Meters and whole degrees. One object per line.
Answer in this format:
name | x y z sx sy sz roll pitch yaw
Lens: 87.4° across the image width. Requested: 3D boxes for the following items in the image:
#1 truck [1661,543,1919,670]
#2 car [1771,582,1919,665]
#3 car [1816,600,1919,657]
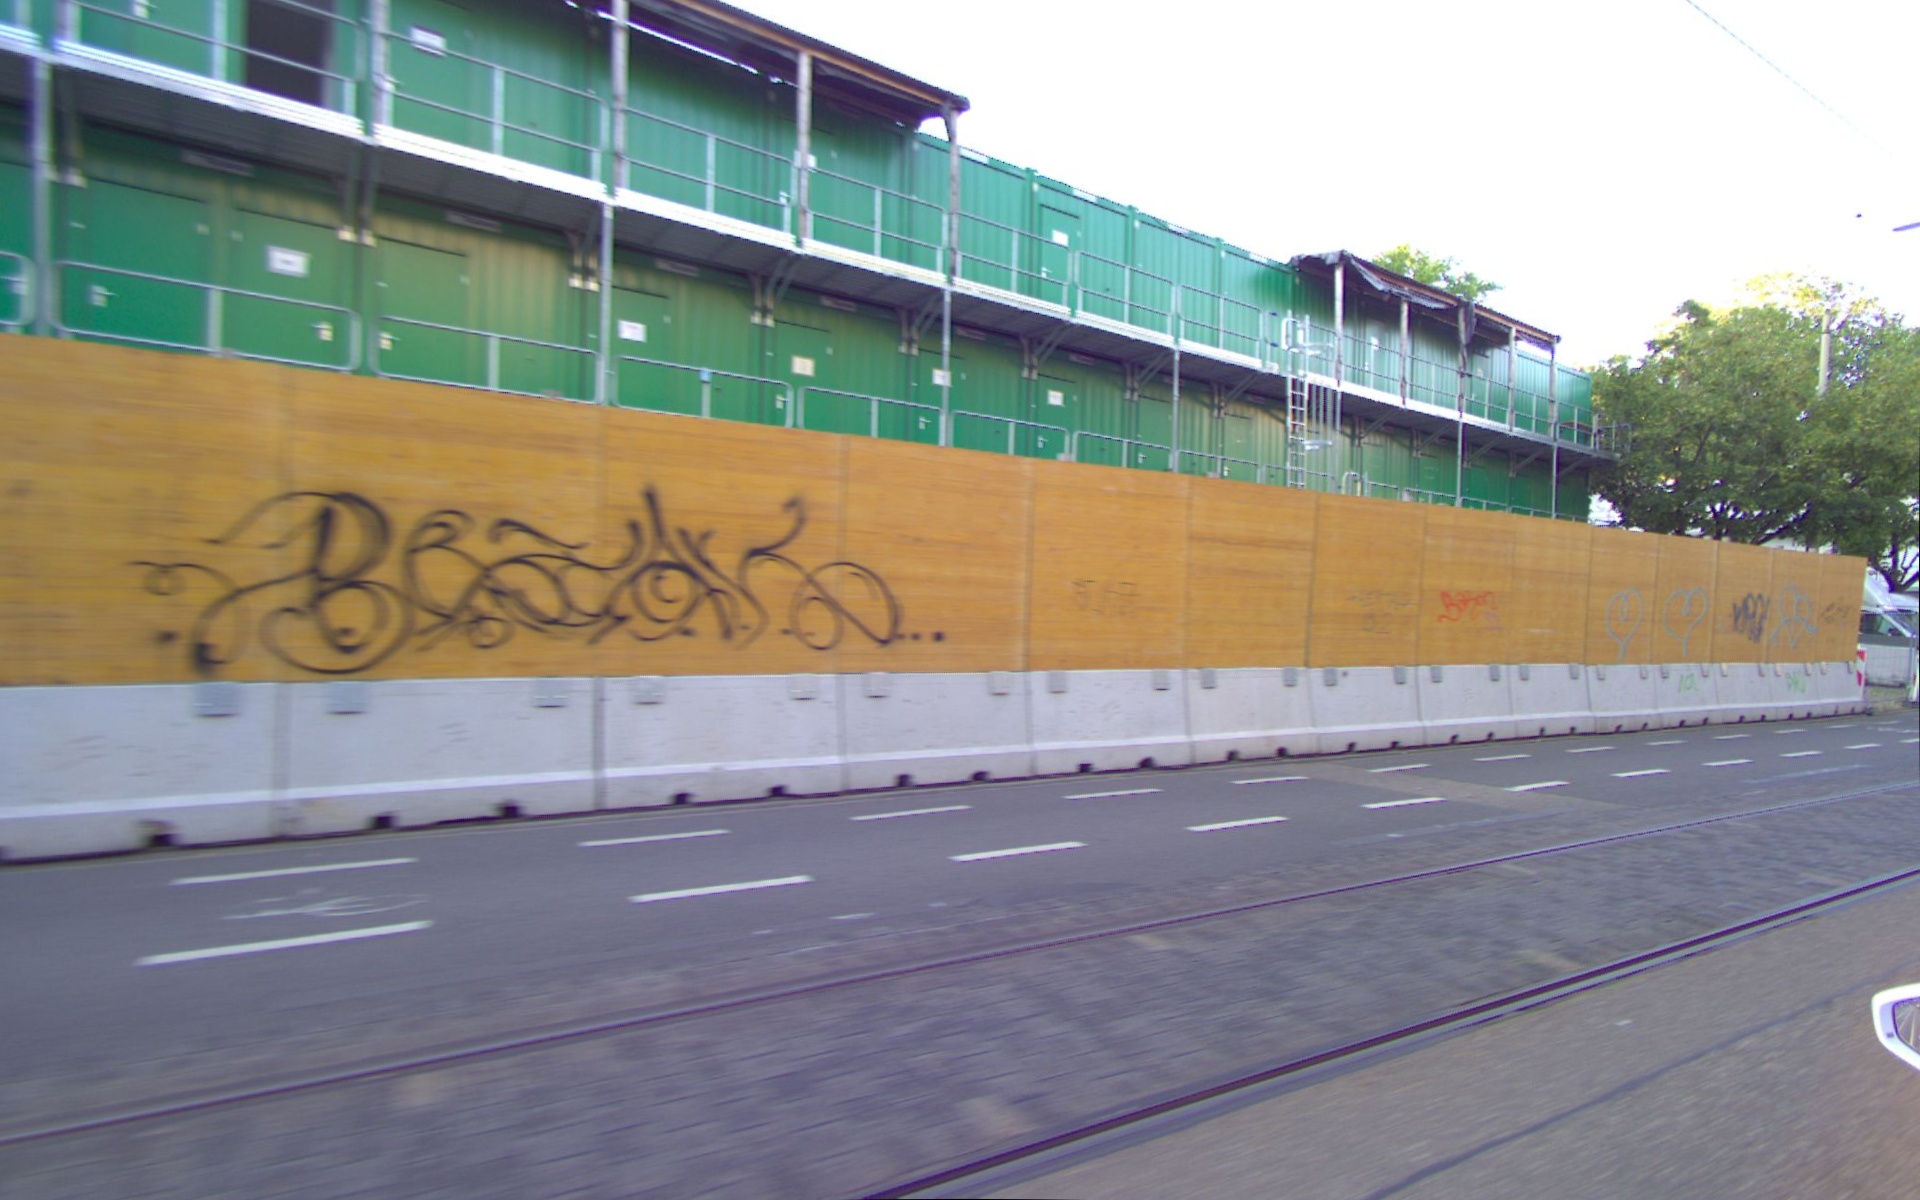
truck | 26.182 0.099 30.943 2.514 3.528 7.014 0 2 -33
car | 31.133 0.770 33.912 2.202 2.593 5.368 1 2 -32
car | 35.721 1.094 37.654 2.197 1.971 5.010 1 2 -25
